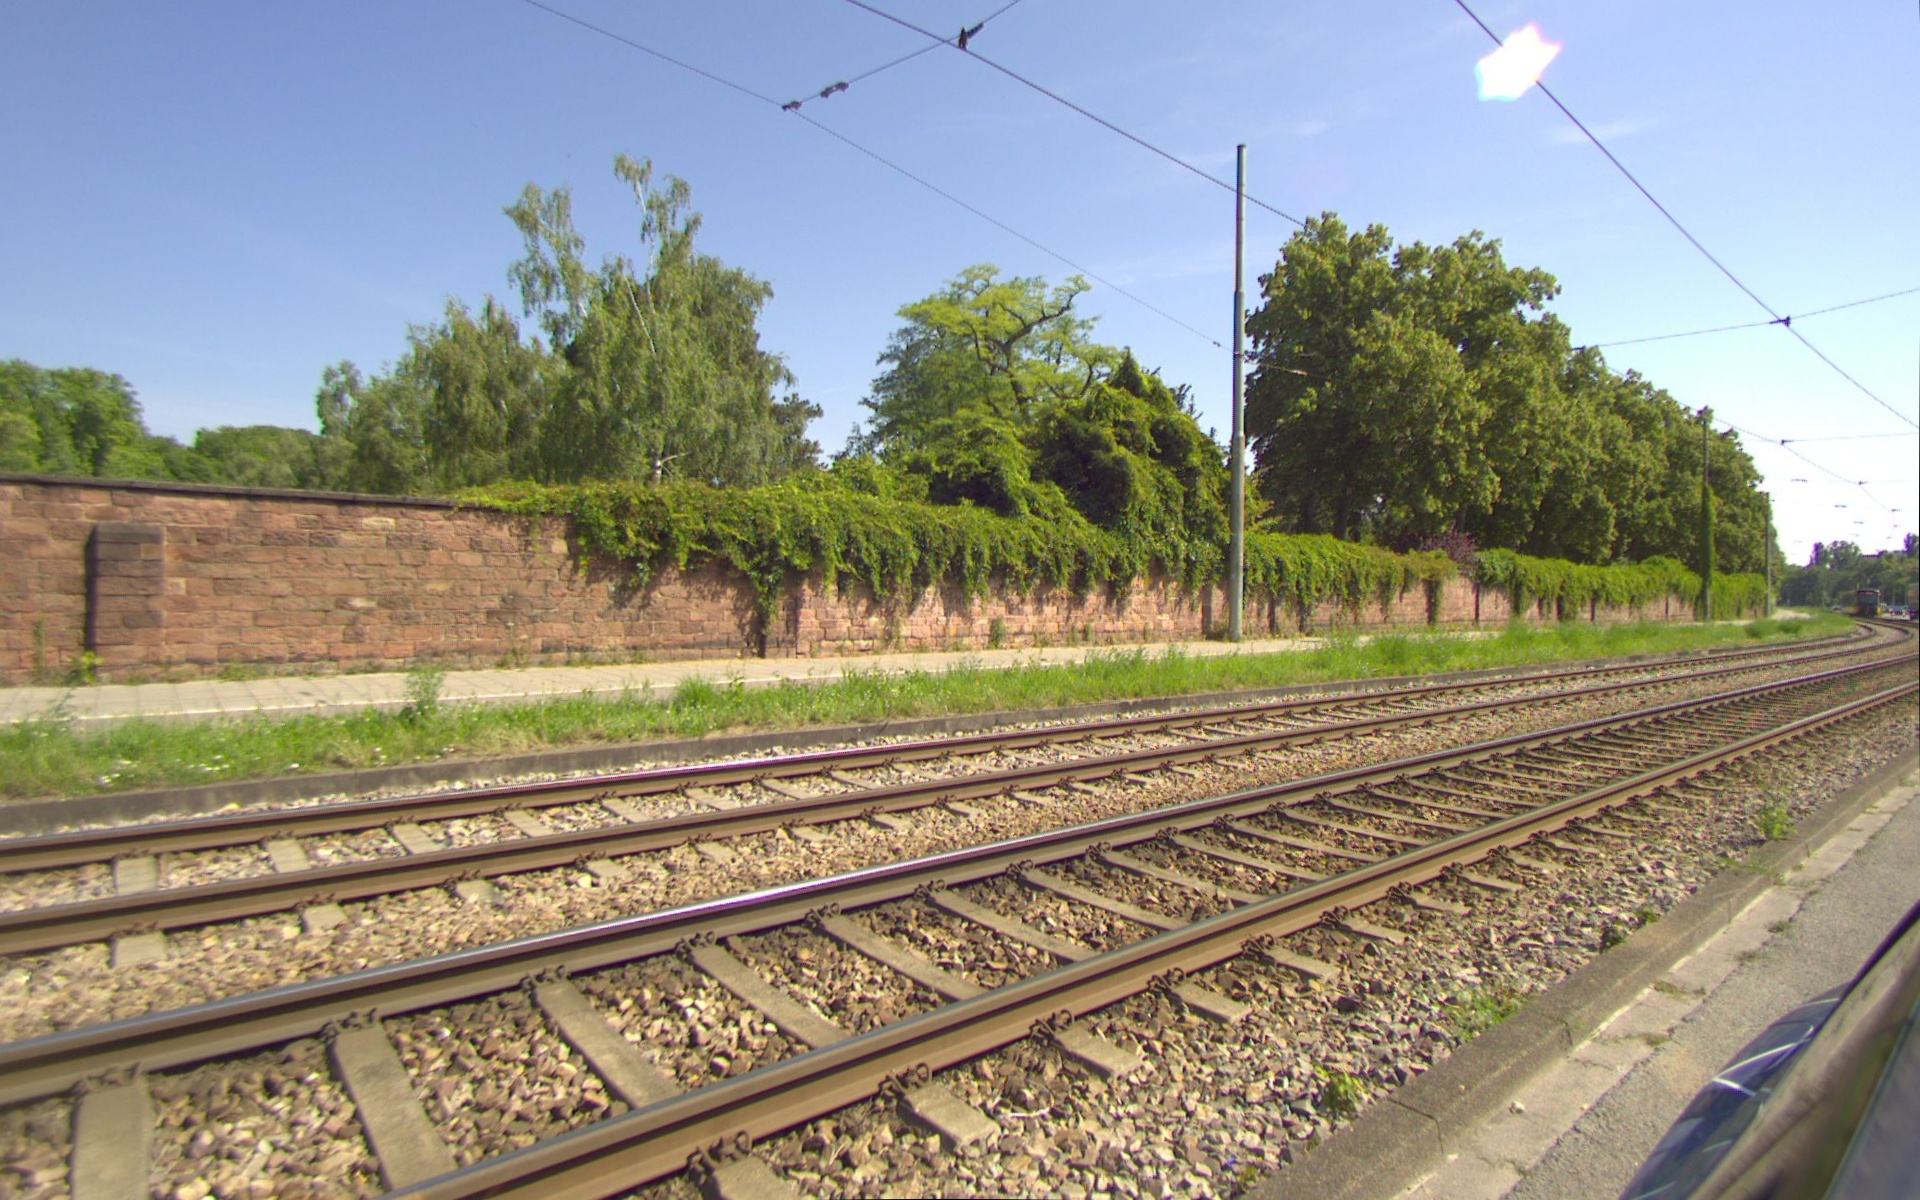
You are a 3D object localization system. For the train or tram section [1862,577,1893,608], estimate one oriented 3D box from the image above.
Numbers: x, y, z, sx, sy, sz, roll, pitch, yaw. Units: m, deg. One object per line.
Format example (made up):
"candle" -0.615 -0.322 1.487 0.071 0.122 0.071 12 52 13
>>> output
"train or tram section" 118.684 -0.894 130.763 2.713 3.785 18.584 0 0 43

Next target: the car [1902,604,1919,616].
"car" 144.876 1.554 154.279 1.848 1.739 3.939 -1 0 42
